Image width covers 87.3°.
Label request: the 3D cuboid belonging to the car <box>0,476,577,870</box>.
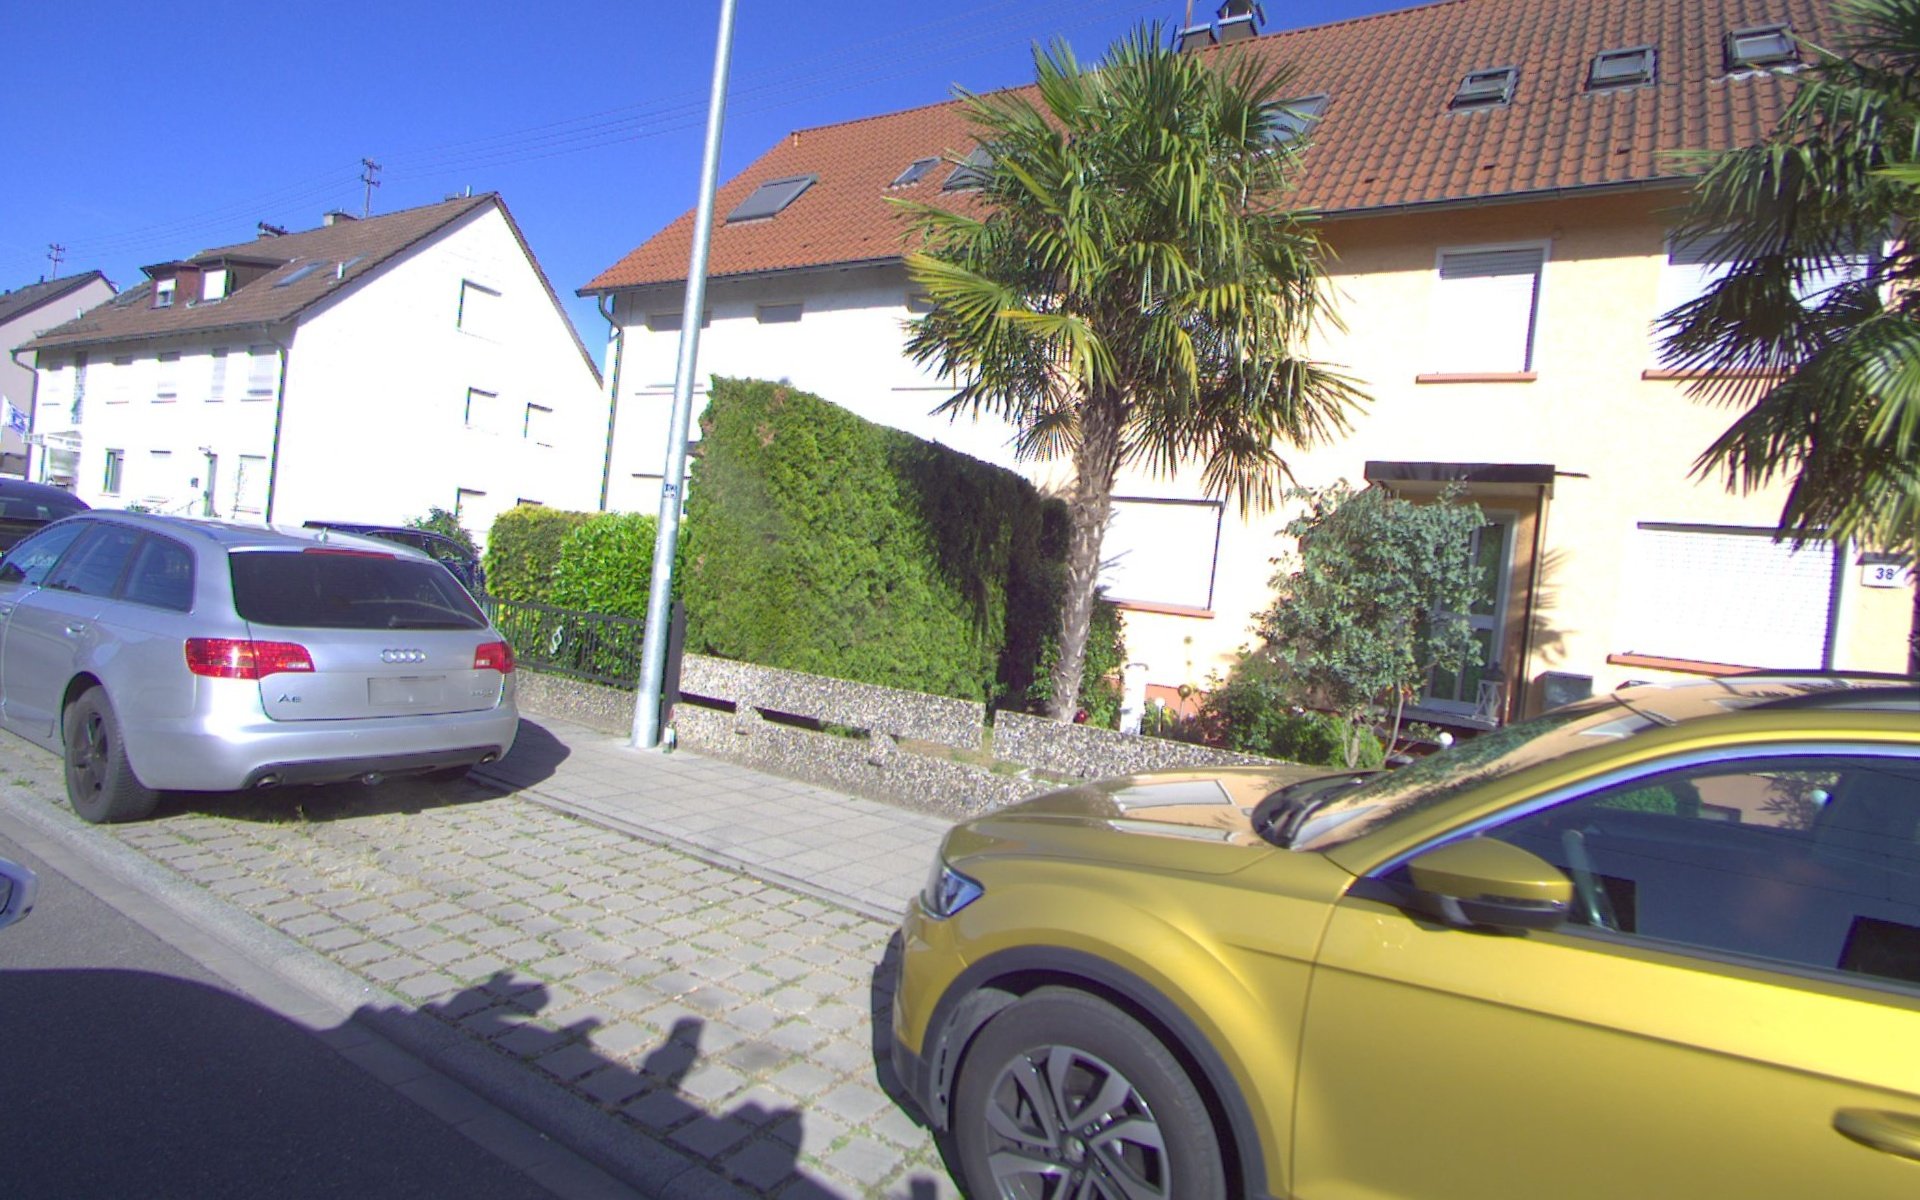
[{"bbox_3d":[-4.580,0.151,5.995,4.620,1.465,1.750,8,1,31],"label":"car"}]

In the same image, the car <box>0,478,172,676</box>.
[{"bbox_3d":[-9.229,-0.383,9.140,4.651,1.517,1.779,7,0,33],"label":"car"}]

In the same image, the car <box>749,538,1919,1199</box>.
[{"bbox_3d":[2.037,0.896,2.112,4.845,1.579,1.806,6,1,32],"label":"car"}]

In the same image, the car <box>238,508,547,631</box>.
[{"bbox_3d":[-10.327,-0.481,18.695,2.159,1.675,4.423,6,-1,29],"label":"car"}]
